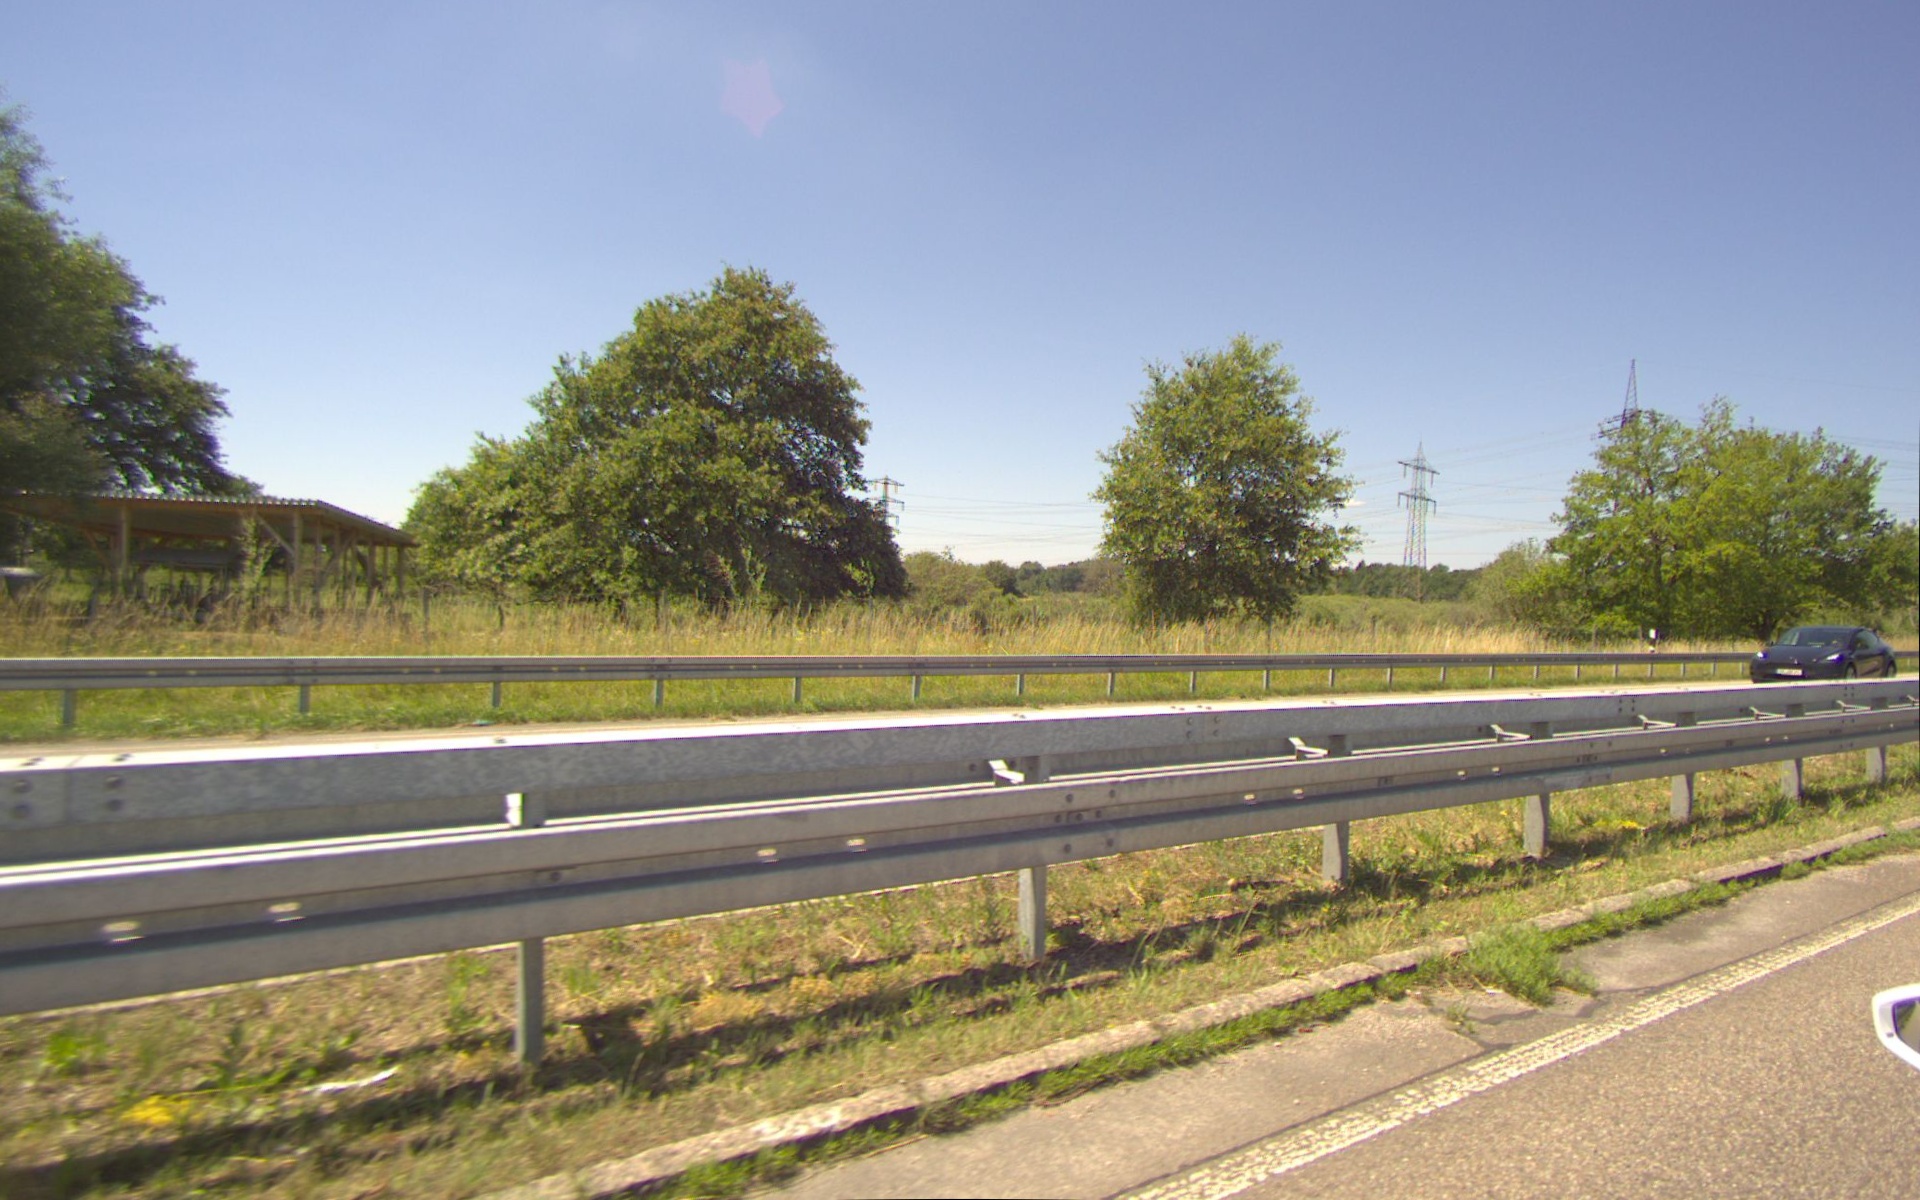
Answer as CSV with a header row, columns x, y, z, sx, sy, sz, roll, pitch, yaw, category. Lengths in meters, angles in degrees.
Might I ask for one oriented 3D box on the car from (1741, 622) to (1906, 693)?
x,y,z,sx,sy,sz,roll,pitch,yaw,category
22.297,1.440,25.881,4.910,1.629,1.981,2,0,-34,car
